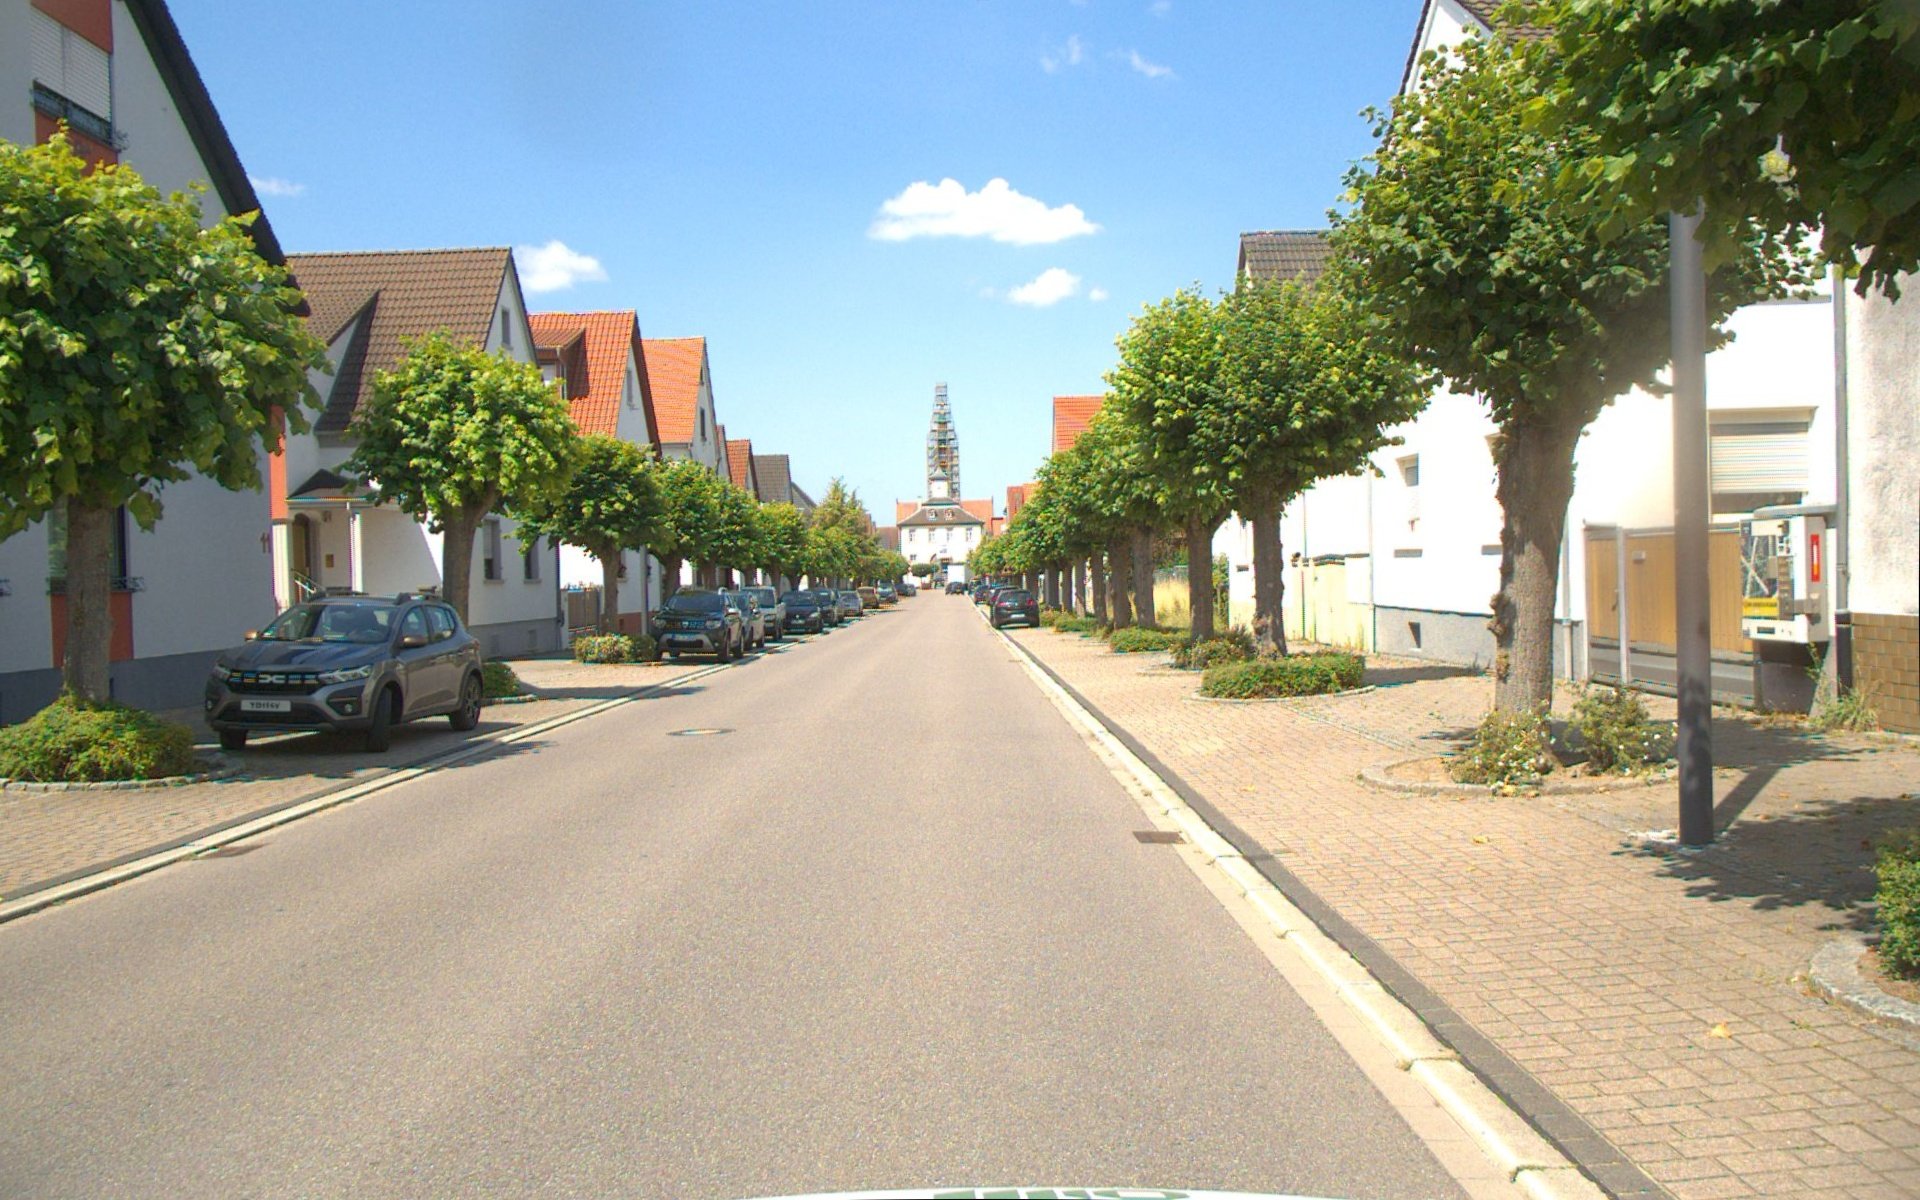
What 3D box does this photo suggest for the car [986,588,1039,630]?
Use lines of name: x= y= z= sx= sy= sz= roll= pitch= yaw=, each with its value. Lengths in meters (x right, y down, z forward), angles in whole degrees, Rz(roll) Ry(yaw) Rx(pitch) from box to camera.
car: x=1.971 y=0.316 z=63.387 sx=1.787 sy=1.457 sz=4.056 roll=-3 pitch=0 yaw=0

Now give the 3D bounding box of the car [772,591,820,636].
car: x=-6.221 y=0.500 z=62.790 sx=1.751 sy=1.662 sz=3.995 roll=0 pitch=0 yaw=-6

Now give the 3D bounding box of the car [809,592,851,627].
car: x=-6.342 y=0.434 z=80.997 sx=1.954 sy=1.681 sz=4.364 roll=0 pitch=0 yaw=-4

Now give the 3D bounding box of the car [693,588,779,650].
car: x=-6.236 y=0.515 z=46.472 sx=1.815 sy=1.641 sz=4.370 roll=1 pitch=0 yaw=0

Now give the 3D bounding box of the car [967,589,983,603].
car: x=1.721 y=-0.502 z=195.829 sx=1.800 sy=1.582 sz=4.314 roll=-3 pitch=0 yaw=0

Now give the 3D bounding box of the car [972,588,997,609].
car: x=1.934 y=-0.161 z=133.163 sx=1.800 sy=1.582 sz=4.313 roll=-3 pitch=0 yaw=-1

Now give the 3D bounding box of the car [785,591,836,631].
car: x=-6.414 y=0.454 z=71.388 sx=1.815 sy=1.664 sz=4.056 roll=1 pitch=0 yaw=0

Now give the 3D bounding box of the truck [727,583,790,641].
truck: x=-6.548 y=0.368 z=54.023 sx=1.544 sy=1.796 sz=4.192 roll=1 pitch=0 yaw=0

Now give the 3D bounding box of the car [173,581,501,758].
car: x=-6.456 y=0.655 z=17.674 sx=1.814 sy=1.641 sz=4.136 roll=1 pitch=0 yaw=2

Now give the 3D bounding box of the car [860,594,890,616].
car: x=-6.471 y=0.363 z=125.761 sx=1.952 sy=1.639 sz=4.689 roll=0 pitch=0 yaw=1

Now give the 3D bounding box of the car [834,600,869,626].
car: x=-6.234 y=0.753 z=95.621 sx=1.803 sy=1.420 sz=4.405 roll=0 pitch=0 yaw=-1

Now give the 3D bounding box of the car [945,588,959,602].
car: x=-0.951 y=-0.627 z=194.761 sx=1.694 sy=1.574 sz=3.455 roll=1 pitch=0 yaw=0

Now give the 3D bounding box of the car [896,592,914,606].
car: x=-6.542 y=-0.106 z=195.832 sx=1.952 sy=1.639 sz=3.855 roll=0 pitch=0 yaw=1

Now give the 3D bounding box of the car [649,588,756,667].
car: x=-5.921 y=0.585 z=38.441 sx=1.815 sy=1.665 sz=4.299 roll=1 pitch=1 yaw=0

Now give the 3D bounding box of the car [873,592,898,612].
car: x=-6.630 y=0.192 z=147.333 sx=1.952 sy=1.639 sz=4.689 roll=1 pitch=1 yaw=1

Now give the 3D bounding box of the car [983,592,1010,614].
car: x=2.741 y=0.197 z=125.536 sx=1.800 sy=1.636 sz=3.999 roll=-1 pitch=0 yaw=-2
